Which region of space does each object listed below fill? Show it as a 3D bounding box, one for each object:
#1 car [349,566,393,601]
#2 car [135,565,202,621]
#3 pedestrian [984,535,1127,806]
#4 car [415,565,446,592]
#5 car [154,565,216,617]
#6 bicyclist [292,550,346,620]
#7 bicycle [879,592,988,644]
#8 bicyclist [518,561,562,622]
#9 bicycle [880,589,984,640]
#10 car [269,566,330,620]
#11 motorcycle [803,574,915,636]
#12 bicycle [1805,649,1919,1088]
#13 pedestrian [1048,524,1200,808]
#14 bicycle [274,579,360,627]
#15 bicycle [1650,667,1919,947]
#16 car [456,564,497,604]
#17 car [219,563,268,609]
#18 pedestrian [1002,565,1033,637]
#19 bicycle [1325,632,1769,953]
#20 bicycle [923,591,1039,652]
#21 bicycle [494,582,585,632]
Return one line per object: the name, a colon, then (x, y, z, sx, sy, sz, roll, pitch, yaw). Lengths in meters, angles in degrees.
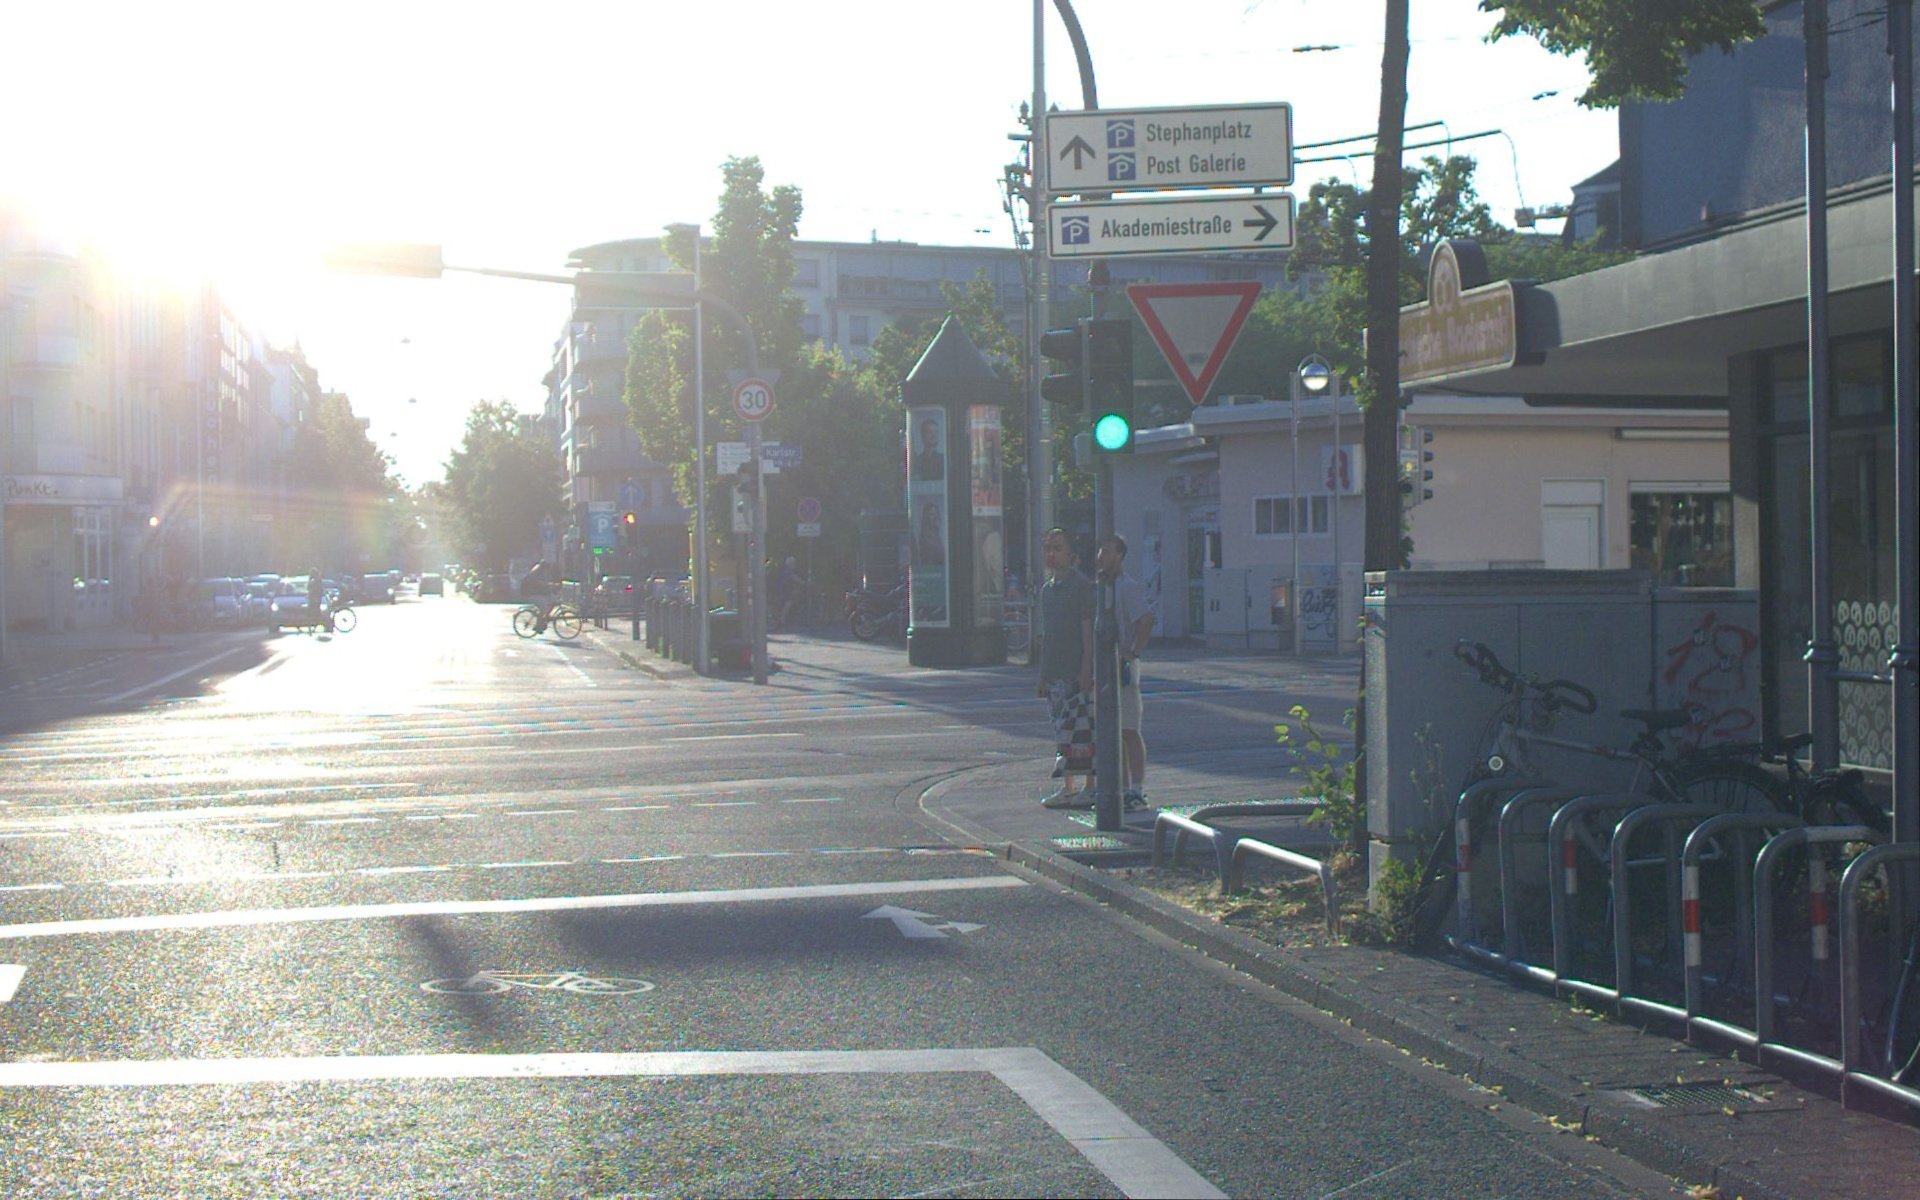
car: (-29.849, -0.852, 174.324, 1.993, 1.678, 4.001, -1, 1, -7)
car: (-21.950, -0.205, 95.390, 1.544, 1.478, 3.353, -1, 1, -9)
pedestrian: (0.632, 0.455, 22.851, 0.585, 1.767, 0.749, -1, 1, -39)
car: (-37.093, -1.493, 240.985, 1.993, 1.810, 4.001, 1, 0, -7)
car: (-22.304, -0.244, 99.020, 1.544, 1.464, 3.353, 0, 0, -9)
bicyclist: (-16.449, -0.381, 88.250, 1.130, 1.784, 0.764, 1, 0, 13)
bicycle: (-0.515, 0.345, 66.046, 2.078, 0.979, 0.560, -1, 0, 0)
bicyclist: (-10.283, -0.199, 84.148, 0.899, 1.476, 0.735, 1, 0, 5)
bicycle: (-0.549, 0.285, 67.633, 2.038, 0.973, 0.560, -1, 0, 0)
car: (-18.284, -0.190, 95.205, 1.544, 1.463, 3.353, 0, 0, -9)
motorcycle: (-2.040, 0.097, 69.138, 2.234, 1.197, 0.720, -1, 1, -3)
bicycle: (3.299, 0.737, 9.977, 1.656, 1.190, 0.494, -1, 1, -21)
pedestrian: (1.046, 0.411, 21.993, 0.637, 1.767, 0.749, -1, 1, -29)
bicycle: (-16.512, 0.066, 88.247, 2.119, 1.200, 0.500, 1, 0, 13)
bicycle: (3.402, 0.817, 14.138, 0.403, 1.007, 1.671, -3, 1, -14)
car: (-24.676, -0.801, 175.348, 1.993, 2.007, 4.001, 1, 0, -8)
car: (-24.255, -0.467, 116.396, 1.482, 1.554, 3.259, 0, 0, -9)
pedestrian: (1.333, 0.016, 79.848, 0.680, 1.651, 0.696, 1, 0, 0)
bicycle: (2.295, 0.734, 13.458, 1.656, 1.190, 0.477, 0, 1, -13)
bicycle: (0.373, 0.376, 60.418, 2.020, 1.041, 0.560, -1, 0, 0)
bicycle: (-10.286, 0.175, 84.124, 2.118, 1.200, 0.500, 1, 0, 4)
